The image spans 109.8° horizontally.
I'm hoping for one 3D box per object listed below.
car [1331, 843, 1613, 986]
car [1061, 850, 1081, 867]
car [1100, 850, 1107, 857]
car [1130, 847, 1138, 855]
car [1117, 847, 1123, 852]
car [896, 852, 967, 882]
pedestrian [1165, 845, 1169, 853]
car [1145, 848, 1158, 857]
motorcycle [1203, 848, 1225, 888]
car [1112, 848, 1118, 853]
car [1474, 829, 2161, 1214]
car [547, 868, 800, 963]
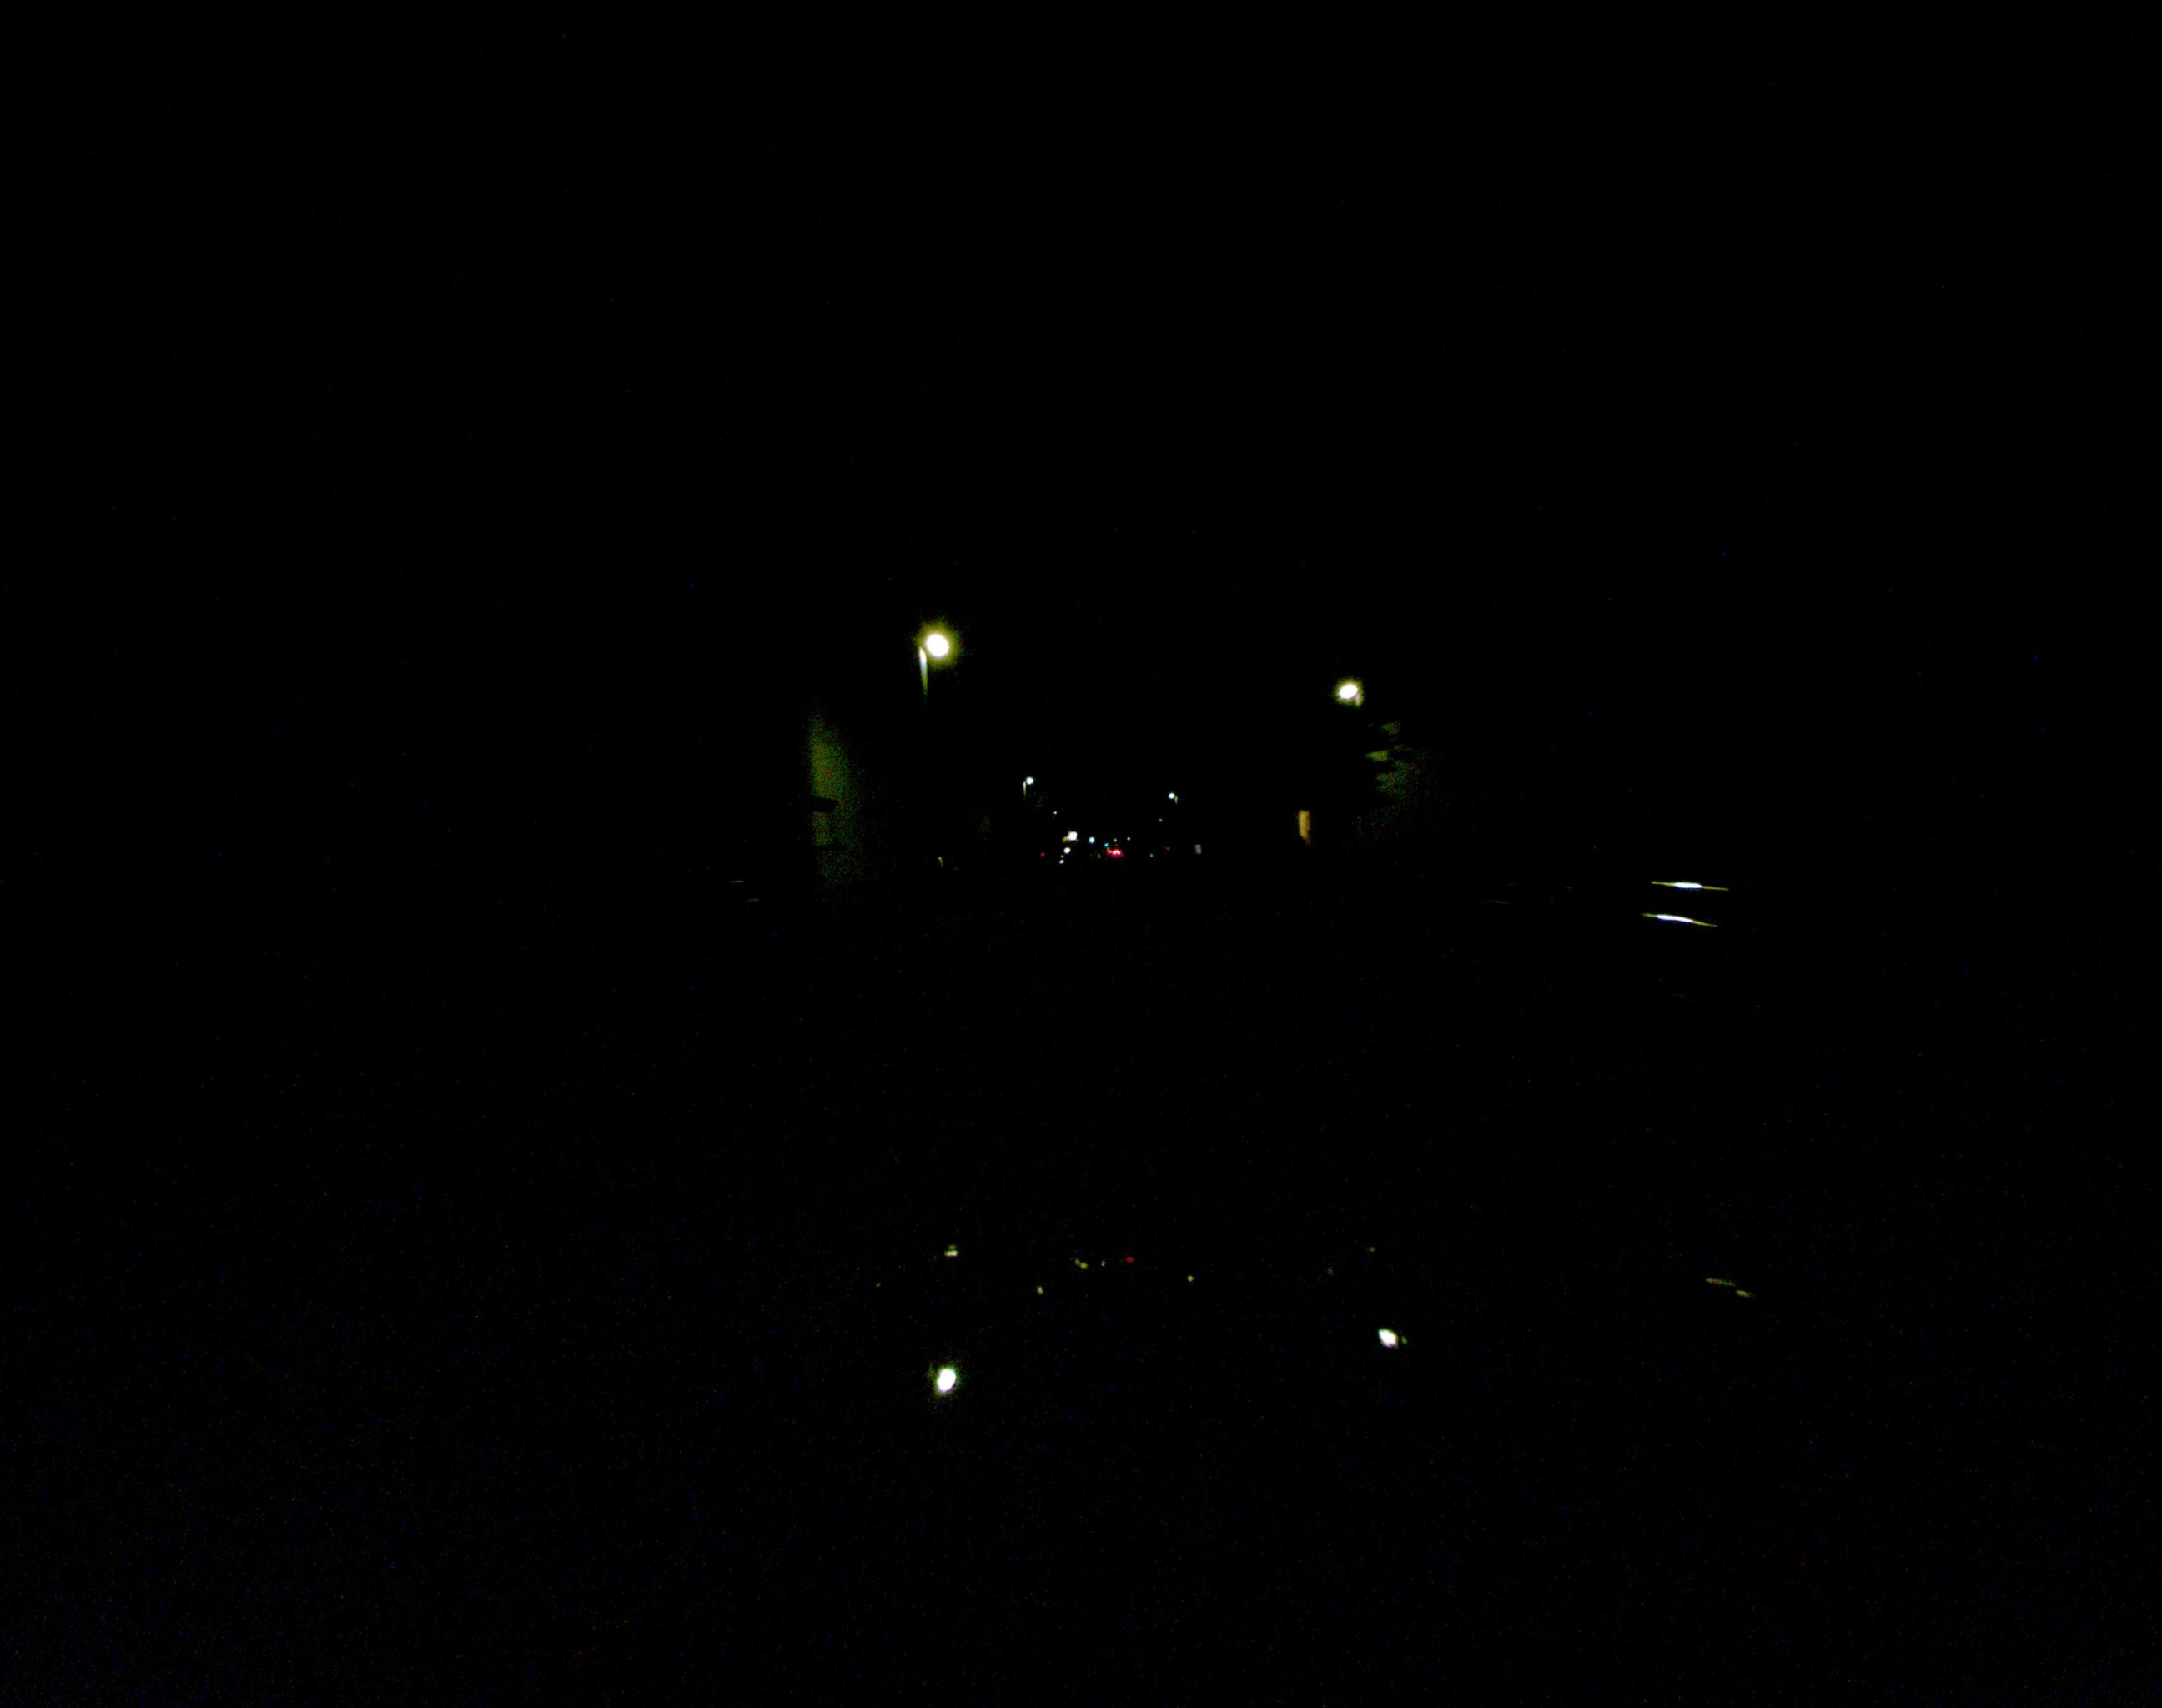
[{"bbox_3d":[4.964,0.648,10.424,1.692,1.501,4.278,-2,0,1],"label":"car"},{"bbox_3d":[-0.945,0.450,74.149,1.747,1.560,4.209,-1,0,2],"label":"car"},{"bbox_3d":[5.170,-0.121,176.017,1.606,1.474,3.699,-1,0,1],"label":"car"},{"bbox_3d":[12.680,-0.719,181.256,1.814,1.637,3.804,-4,0,3],"label":"car"},{"bbox_3d":[11.956,-1.358,234.428,1.720,1.420,3.816,-2,0,4],"label":"car"},{"bbox_3d":[-8.176,0.693,41.678,3.514,1.516,1.820,1,1,0],"label":"car"},{"bbox_3d":[16.239,-0.951,143.603,0.529,1.579,0.665,-2,1,-4],"label":"pedestrian"},{"bbox_3d":[11.735,-0.208,127.181,1.900,1.411,4.931,-3,0,3],"label":"car"},{"bbox_3d":[5.129,0.518,29.423,0.747,1.444,2.197,-2,1,9],"label":"motorcycle"},{"bbox_3d":[11.013,-1.239,249.463,1.752,1.635,4.307,-1,0,0],"label":"car"},{"bbox_3d":[4.738,0.671,5.272,1.771,1.510,4.278,-3,0,0],"label":"car"},{"bbox_3d":[-7.447,1.096,14.138,3.720,1.464,1.730,-2,1,3],"label":"car"}]
